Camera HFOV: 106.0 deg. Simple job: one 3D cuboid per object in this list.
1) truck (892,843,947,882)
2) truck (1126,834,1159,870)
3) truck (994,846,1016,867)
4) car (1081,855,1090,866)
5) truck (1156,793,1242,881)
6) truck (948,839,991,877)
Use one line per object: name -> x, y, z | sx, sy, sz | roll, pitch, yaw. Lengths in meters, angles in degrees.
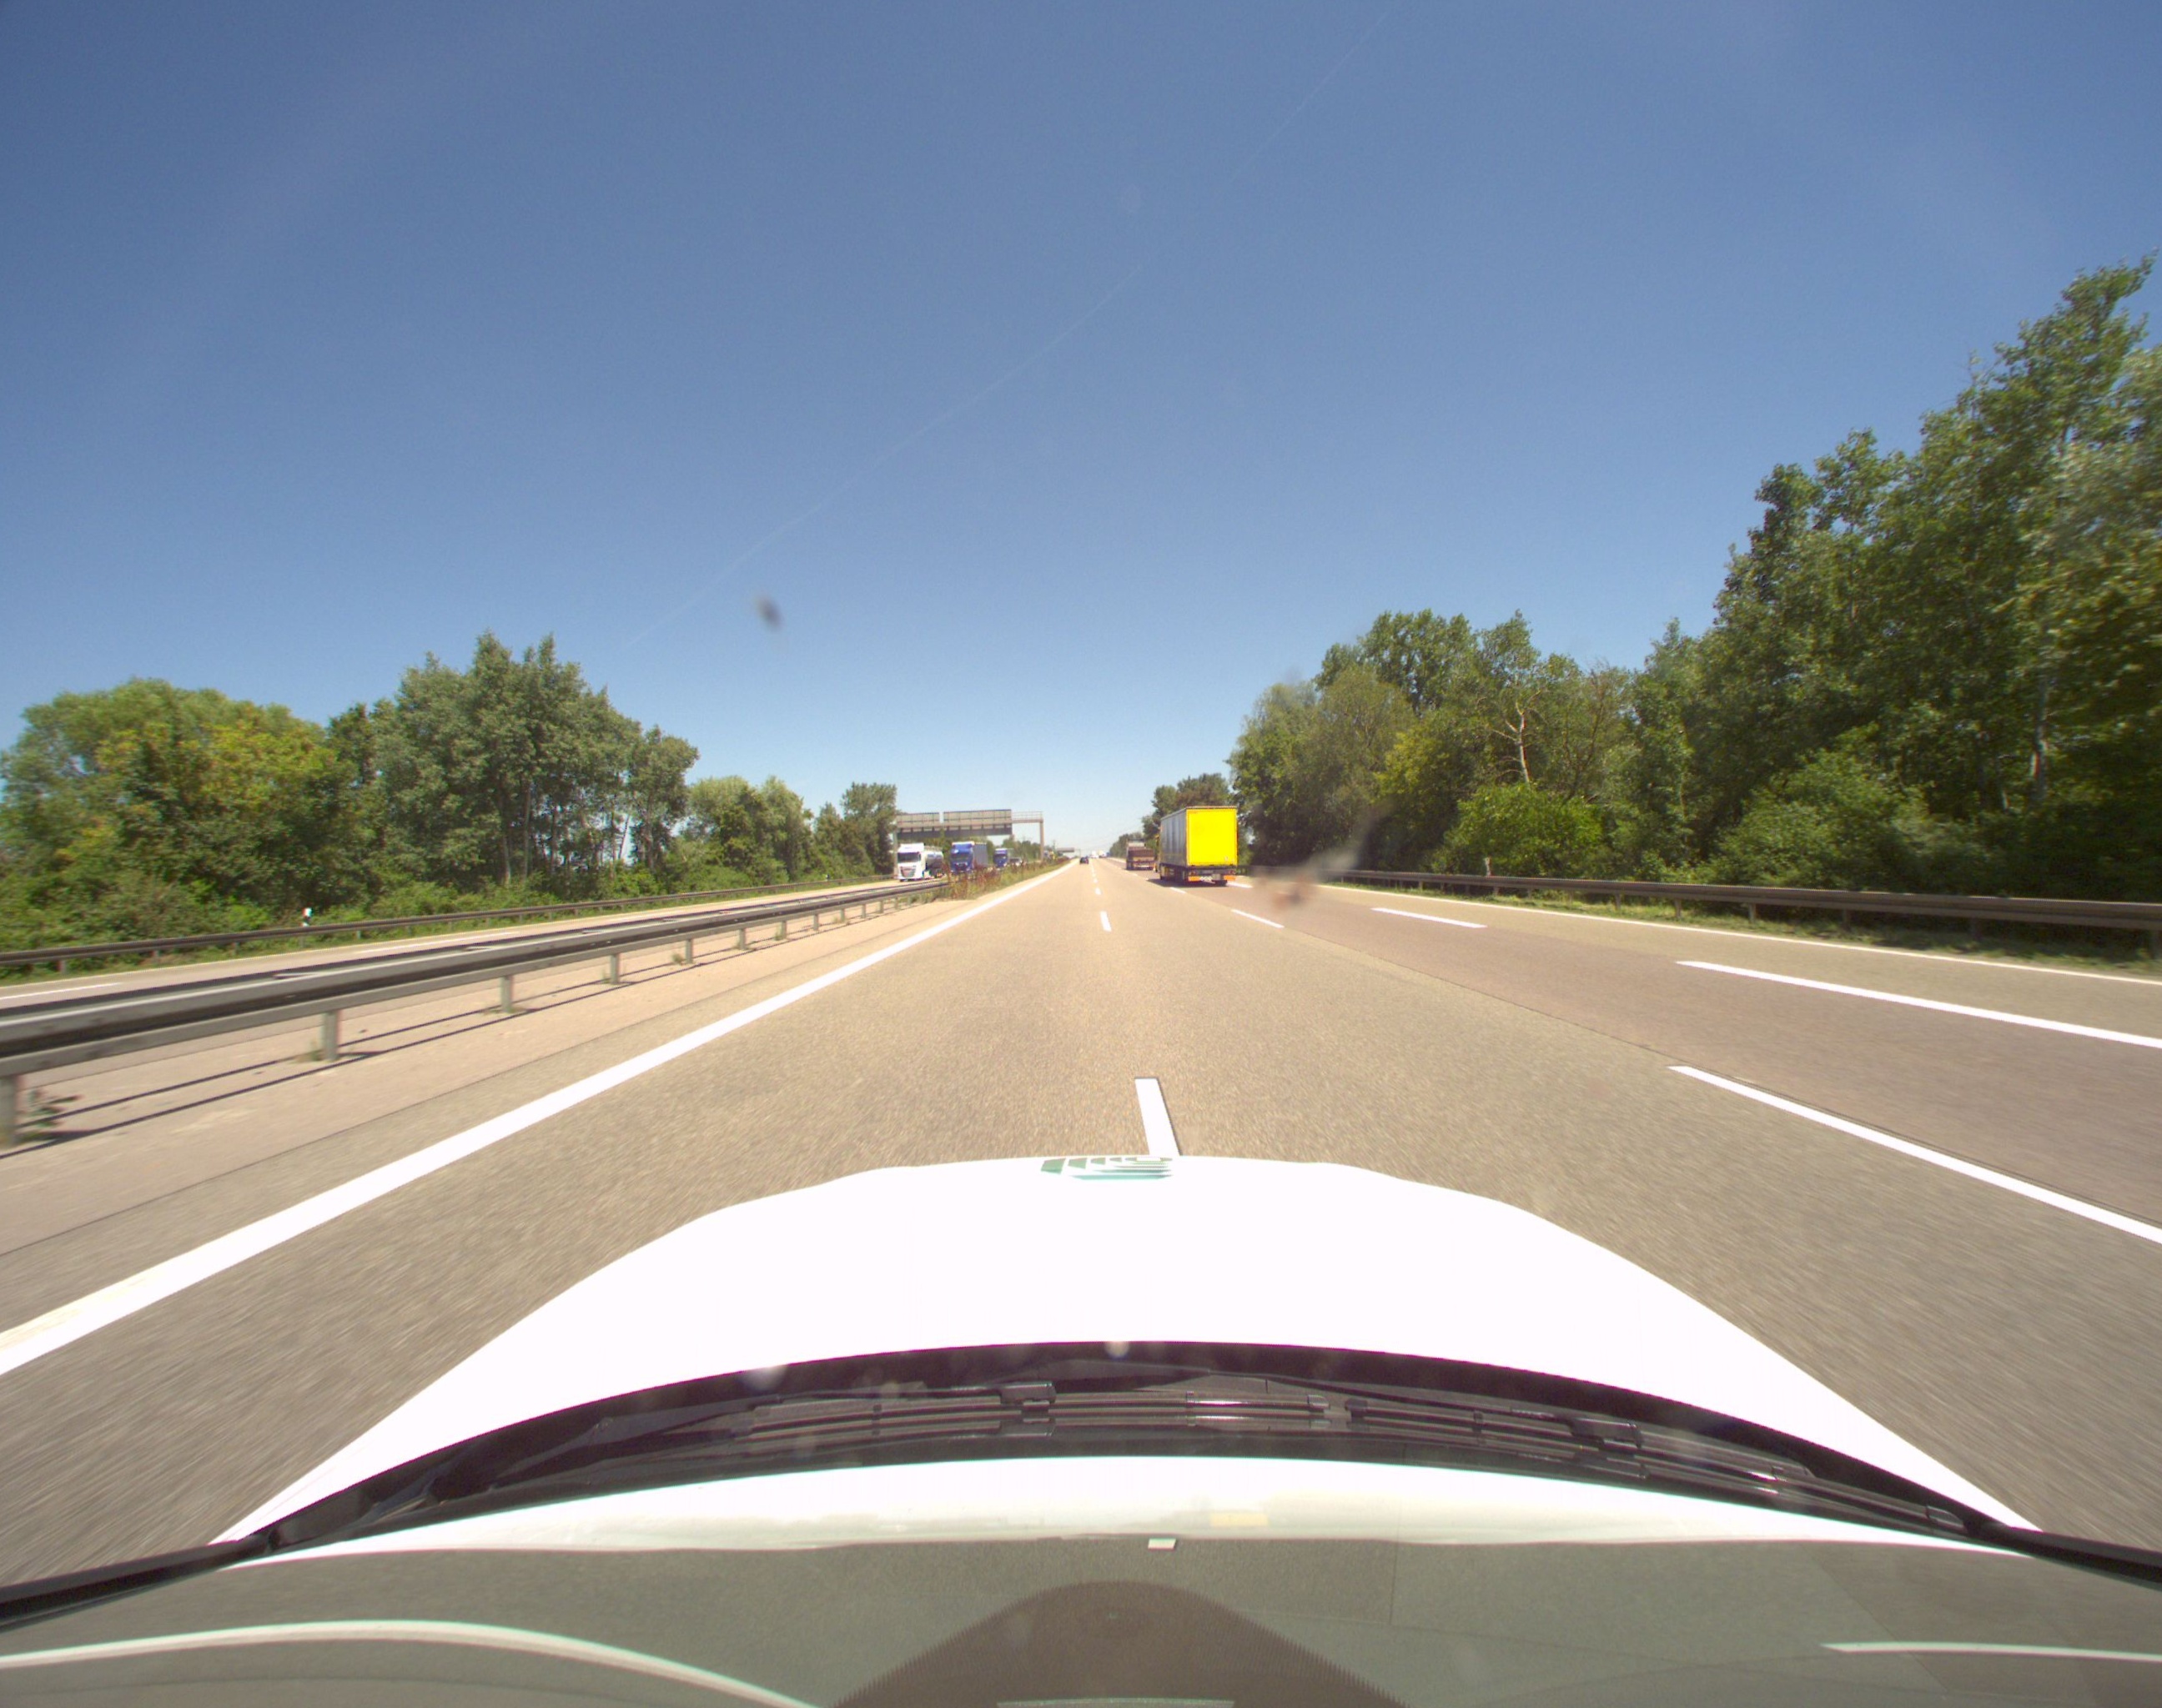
truck -> -18.381, 0.944, 94.101 | 2.945, 4.018, 15.818 | -3, 0, 0
truck -> 7.221, -0.161, 98.269 | 2.959, 3.957, 16.614 | -1, -1, 1
truck -> -16.840, 0.583, 181.886 | 2.945, 4.342, 18.239 | -3, 0, 0
car -> 0.923, 1.310, 164.288 | 1.785, 2.014, 3.888 | -1, -1, 1
truck -> 6.623, -0.737, 48.777 | 2.835, 4.257, 16.793 | -2, -1, 1
truck -> -13.998, 0.501, 104.035 | 2.945, 4.245, 17.179 | -3, 0, 0
